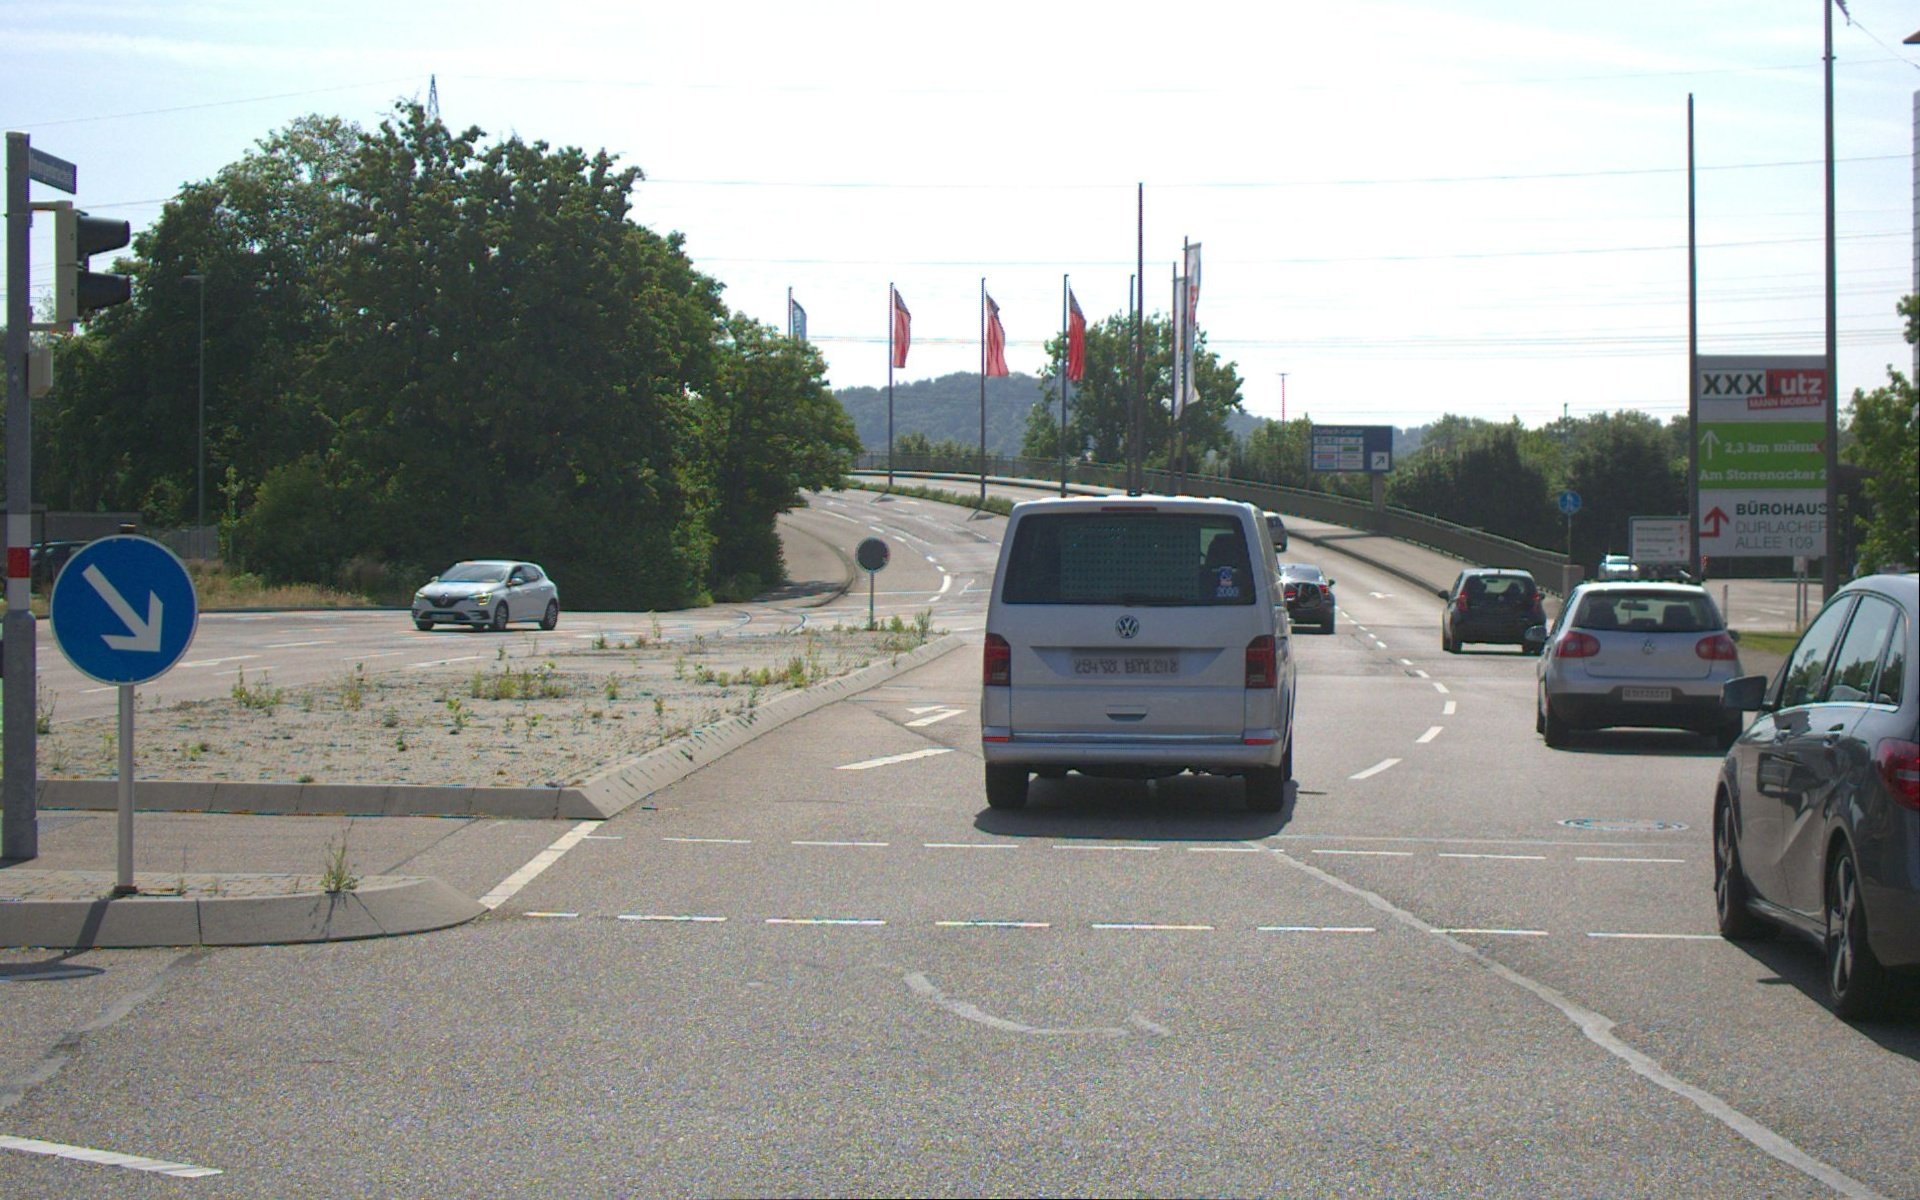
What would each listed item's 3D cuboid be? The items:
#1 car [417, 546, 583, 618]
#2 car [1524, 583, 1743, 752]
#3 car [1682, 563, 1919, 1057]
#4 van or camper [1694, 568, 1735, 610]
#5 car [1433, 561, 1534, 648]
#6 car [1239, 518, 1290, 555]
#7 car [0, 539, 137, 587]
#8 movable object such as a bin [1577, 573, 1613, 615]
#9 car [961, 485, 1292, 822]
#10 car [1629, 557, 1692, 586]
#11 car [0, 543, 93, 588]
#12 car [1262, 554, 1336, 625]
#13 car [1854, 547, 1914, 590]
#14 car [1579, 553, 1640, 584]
[{"bbox_3d":[-9.556,-0.355,71.748,1.783,1.455,4.330,0,0,17],"label":"car"},{"bbox_3d":[6.130,0.574,31.597,1.667,1.409,3.681,1,1,7],"label":"car"},{"bbox_3d":[3.872,0.662,12.700,1.774,1.534,4.137,1,0,4],"label":"car"},{"bbox_3d":[41.983,-0.597,191.404,2.099,2.171,5.435,3,0,12],"label":"van or camper"},{"bbox_3d":[9.446,0.057,62.219,1.531,1.475,3.595,2,1,5],"label":"car"},{"bbox_3d":[12.478,-2.612,141.189,1.531,1.475,3.426,2,1,-4],"label":"car"},{"bbox_3d":[-27.861,-1.152,107.259,4.098,1.415,1.729,0,0,-19],"label":"car"},{"bbox_3d":[16.969,-0.159,91.883,0.810,1.109,1.182,1,1,5],"label":"movable object such as a bin"},{"bbox_3d":[1.182,0.274,22.386,1.917,1.968,4.296,0,1,6],"label":"car"},{"bbox_3d":[37.054,-1.518,181.917,1.993,1.415,4.001,3,0,-9],"label":"car"},{"bbox_3d":[-30.495,-1.129,112.217,4.098,1.415,1.729,0,0,-19],"label":"car"},{"bbox_3d":[7.503,-0.255,76.269,1.531,1.475,3.247,2,1,4],"label":"car"},{"bbox_3d":[39.052,-1.350,145.415,1.673,1.745,4.093,1,2,4],"label":"car"},{"bbox_3d":[34.338,-1.668,181.903,1.883,1.514,4.001,3,0,-9],"label":"car"}]
